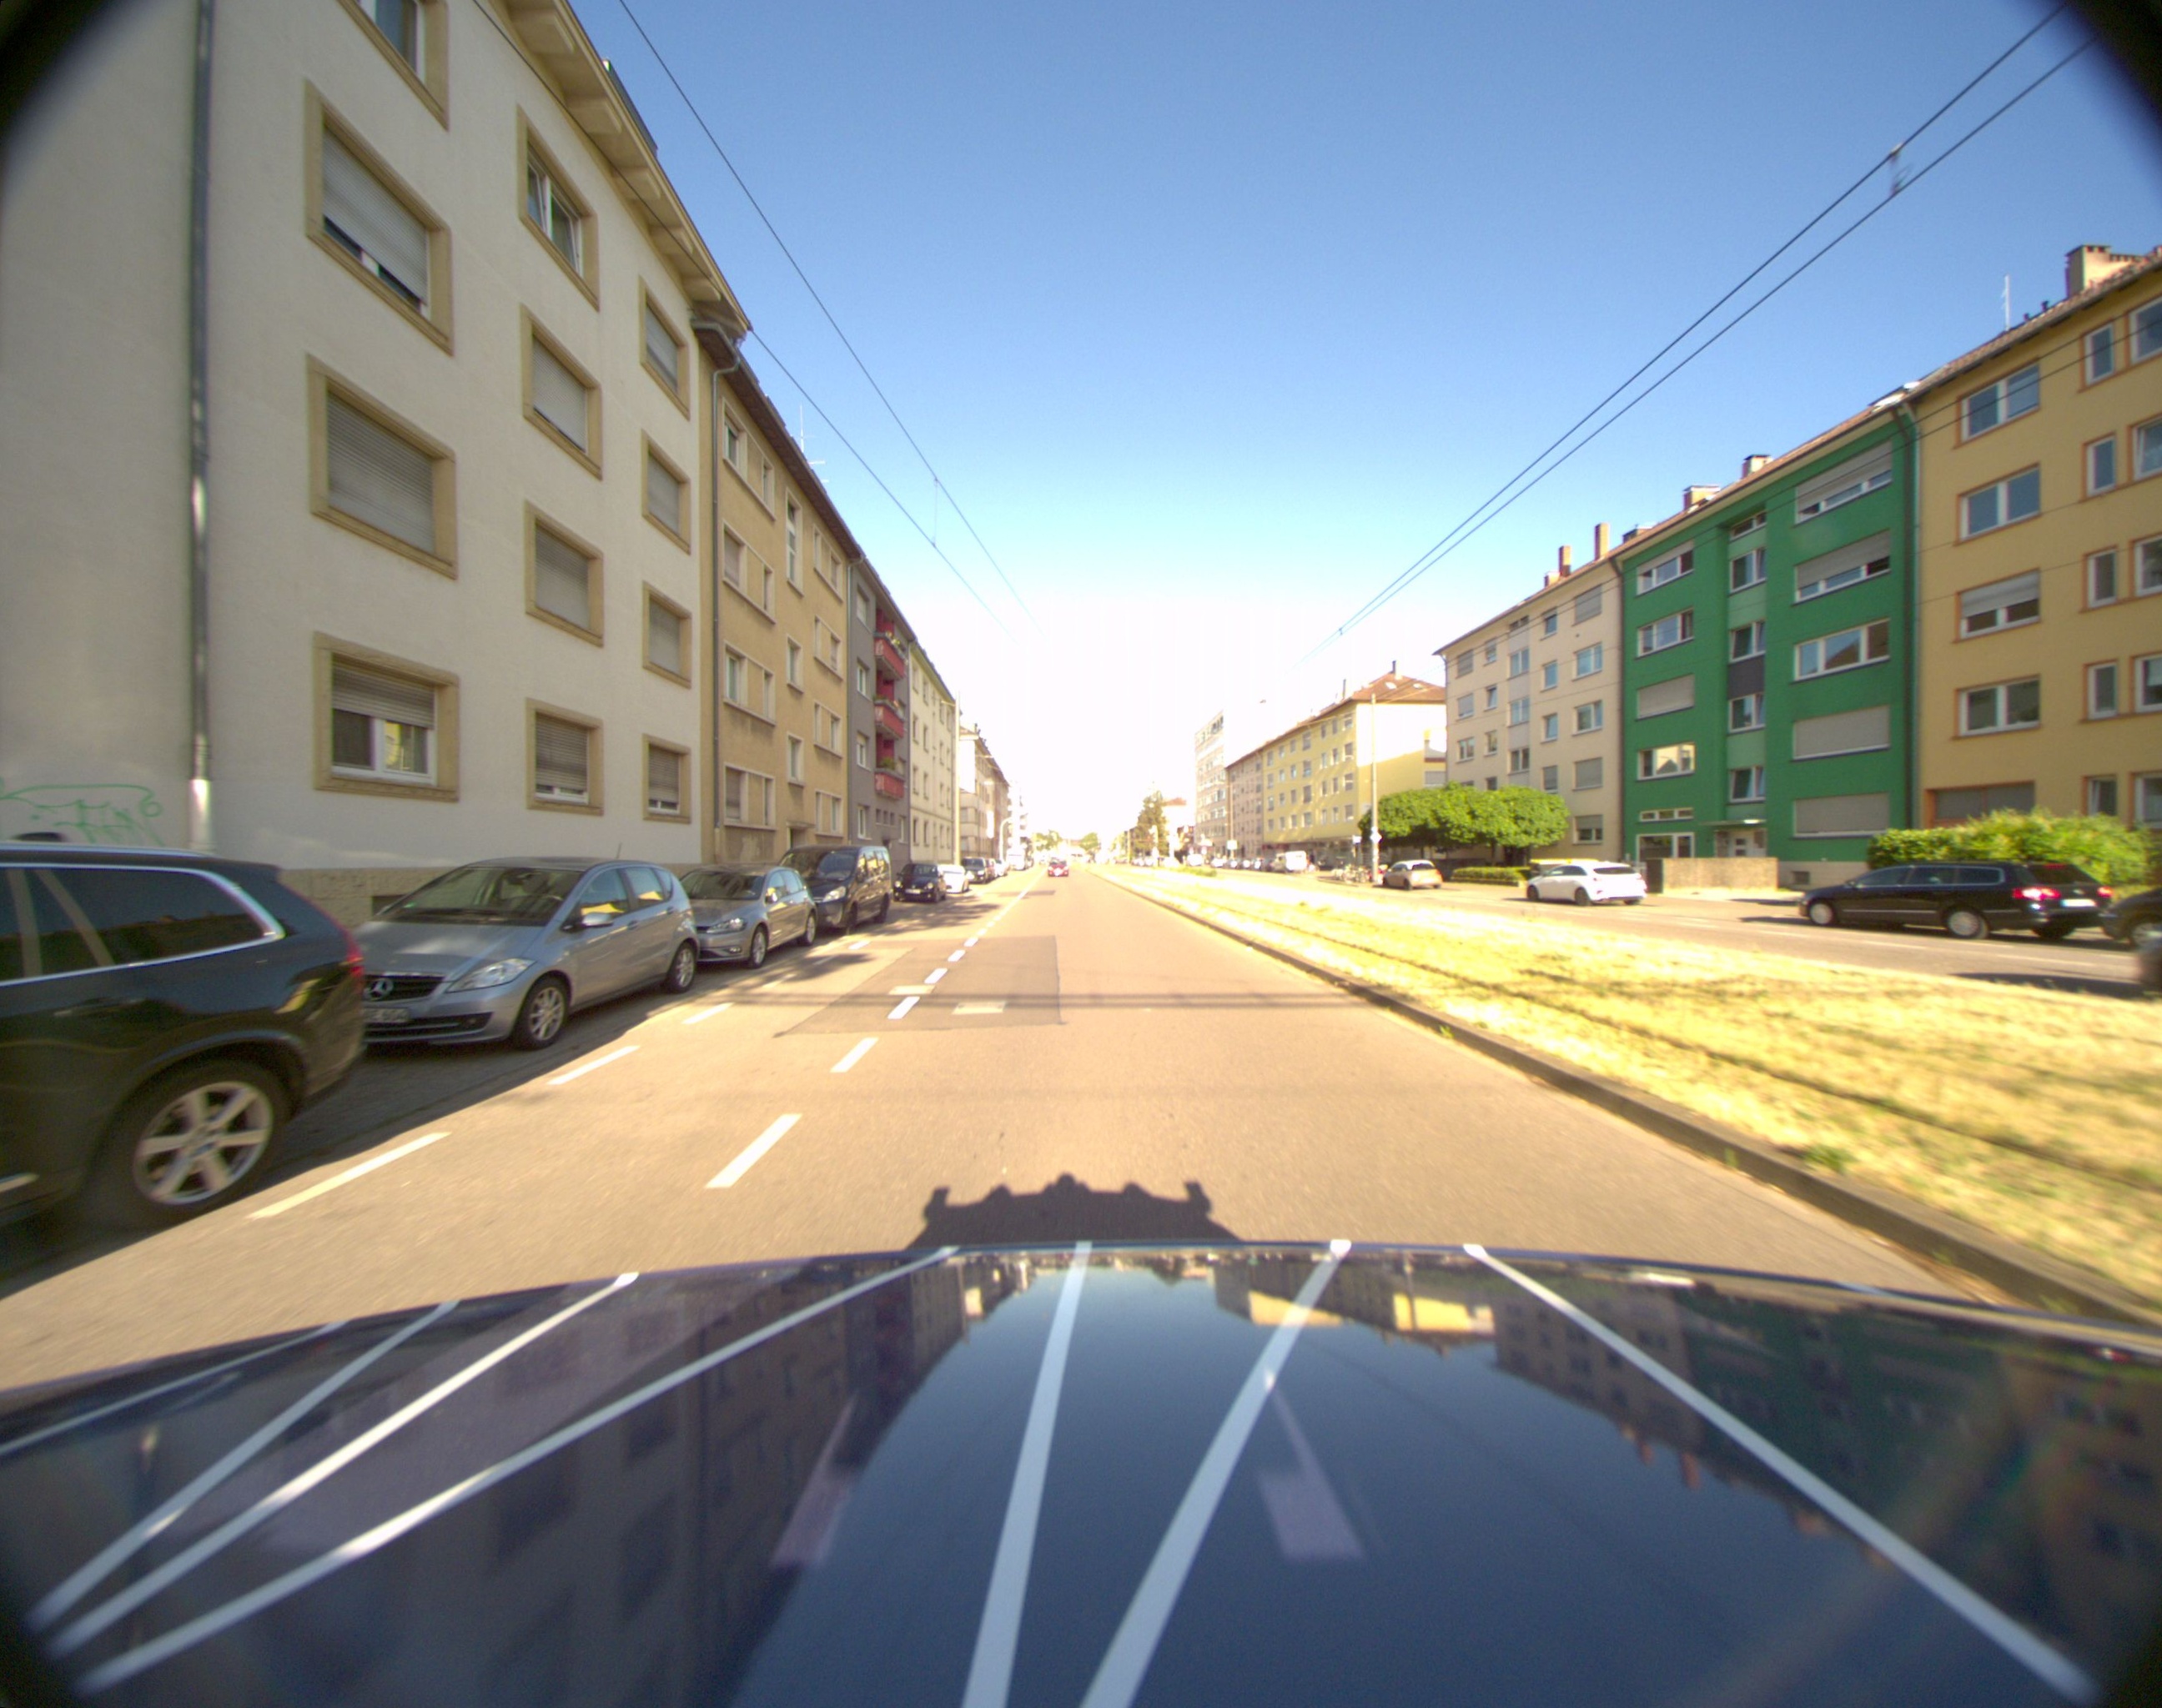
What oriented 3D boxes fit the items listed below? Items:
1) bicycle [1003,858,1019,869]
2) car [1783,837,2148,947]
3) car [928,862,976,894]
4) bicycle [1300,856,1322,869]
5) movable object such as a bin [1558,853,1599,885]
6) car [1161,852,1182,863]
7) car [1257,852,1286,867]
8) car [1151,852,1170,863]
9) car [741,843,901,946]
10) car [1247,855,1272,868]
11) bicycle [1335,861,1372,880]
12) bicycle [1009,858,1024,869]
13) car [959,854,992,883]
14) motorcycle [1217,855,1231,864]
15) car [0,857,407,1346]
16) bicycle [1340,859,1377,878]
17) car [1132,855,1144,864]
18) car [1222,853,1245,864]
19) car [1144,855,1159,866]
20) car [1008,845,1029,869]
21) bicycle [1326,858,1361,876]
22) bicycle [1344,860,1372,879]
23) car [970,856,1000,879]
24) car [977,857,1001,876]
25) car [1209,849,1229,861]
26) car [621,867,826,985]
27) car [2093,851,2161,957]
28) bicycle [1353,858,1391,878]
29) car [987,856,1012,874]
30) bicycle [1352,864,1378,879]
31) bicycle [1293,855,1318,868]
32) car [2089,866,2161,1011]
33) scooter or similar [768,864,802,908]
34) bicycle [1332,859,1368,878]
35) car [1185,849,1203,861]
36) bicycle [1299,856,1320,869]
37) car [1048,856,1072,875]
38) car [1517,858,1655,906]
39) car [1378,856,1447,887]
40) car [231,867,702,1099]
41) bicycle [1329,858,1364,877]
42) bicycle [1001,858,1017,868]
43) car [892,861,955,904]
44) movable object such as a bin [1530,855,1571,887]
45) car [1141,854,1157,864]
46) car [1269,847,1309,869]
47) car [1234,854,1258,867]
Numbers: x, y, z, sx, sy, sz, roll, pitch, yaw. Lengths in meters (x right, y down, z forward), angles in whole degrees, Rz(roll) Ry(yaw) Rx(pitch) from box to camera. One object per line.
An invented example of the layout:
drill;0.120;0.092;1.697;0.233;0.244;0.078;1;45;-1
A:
bicycle;-7.756;1.025;84.106;1.912;1.081;0.474;1;4;41
car;17.555;0.664;15.552;1.999;1.827;4.608;-3;0;-2
car;-6.106;1.109;36.415;1.707;1.268;4.302;3;0;-2
bicycle;20.834;0.747;68.832;1.824;1.099;0.390;-3;1;-1
movable object such as a bin;22.661;0.685;34.635;1.149;1.360;1.039;-3;1;1
car;12.245;0.477;102.785;1.839;1.377;4.412;0;0;-8
car;20.225;0.601;80.800;1.788;1.465;4.595;-3;0;-2
car;11.384;0.472;109.371;1.788;1.519;4.412;0;0;-7
car;-5.576;0.777;17.095;1.918;1.888;5.134;3;0;-2
car;20.179;0.833;86.194;1.788;1.377;3.767;-3;0;-2
bicycle;17.260;1.020;48.097;2.052;1.086;0.616;-3;0;4
bicycle;-7.239;1.052;84.959;0.487;1.080;2.023;-4;0;-44
car;-6.408;0.872;46.658;1.640;1.637;4.372;2;0;-4
motorcycle;19.196;0.764;101.803;2.115;1.132;0.486;-3;1;-35
car;-4.856;0.909;1.925;1.884;1.707;4.933;2;0;-1
bicycle;17.271;0.887;47.357;2.052;1.086;0.616;-3;0;4
car;10.303;0.940;136.878;1.618;1.550;3.999;1;0;-2
car;19.543;0.566;97.351;1.788;1.377;4.413;-3;0;-4
car;10.823;0.964;116.579;1.788;1.572;4.607;0;0;-2
car;-7.356;0.341;89.834;2.156;2.680;6.290;1;0;-2
bicycle;17.339;0.844;50.185;2.052;1.086;0.616;-3;0;4
bicycle;16.354;0.897;44.890;0.511;1.086;1.934;-3;0;-13
car;-6.563;0.917;52.448;1.640;1.508;4.188;0;0;-1
car;-6.990;0.937;57.980;1.640;1.450;4.079;0;0;-5
car;19.228;0.142;105.897;1.763;1.477;4.199;-3;0;-2
car;-5.396;0.985;12.096;1.515;1.469;4.236;1;0;-4
car;17.811;0.749;10.515;1.999;1.598;4.150;-3;0;-2
bicycle;17.612;0.869;45.997;2.050;1.086;0.616;-3;0;25
car;-6.778;0.876;63.249;1.698;1.450;4.378;0;0;-1
bicycle;16.890;1.053;45.257;0.377;0.861;2.052;-3;0;-13
bicycle;20.914;0.699;70.707;2.103;1.099;0.472;-3;1;-1
car;11.676;0.854;6.035;1.699;1.439;4.216;1;0;-1
scooter or similar;-8.746;0.934;22.488;0.460;1.231;1.338;3;0;-1
bicycle;17.272;0.935;48.820;2.052;1.086;0.616;-3;0;4
car;19.062;0.136;127.921;1.999;1.887;4.668;-3;0;-4
bicycle;20.830;0.760;69.253;1.824;1.099;0.390;-3;1;-1
car;-1.669;0.871;60.516;1.863;1.461;3.808;0;0;-1
car;17.191;0.897;26.168;1.733;1.446;4.375;-2;0;-1
car;16.924;0.861;38.963;1.640;1.433;3.733;-3;0;-4
car;-5.359;0.972;7.393;1.598;1.569;3.894;2;0;-4
bicycle;17.300;0.865;49.504;2.052;1.086;0.616;-3;0;4
bicycle;-7.887;0.968;83.055;1.912;1.080;0.475;1;-1;42
car;-5.871;1.029;28.739;1.640;1.445;3.788;2;0;-1
movable object such as a bin;21.361;0.754;34.579;1.149;1.360;1.039;-3;1;1
car;11.053;0.800;123.976;1.862;1.541;4.239;2;0;-4
car;20.516;0.386;75.150;1.999;1.938;5.498;-3;0;-5
car;19.900;0.756;91.950;1.788;1.412;4.414;-3;0;-2
